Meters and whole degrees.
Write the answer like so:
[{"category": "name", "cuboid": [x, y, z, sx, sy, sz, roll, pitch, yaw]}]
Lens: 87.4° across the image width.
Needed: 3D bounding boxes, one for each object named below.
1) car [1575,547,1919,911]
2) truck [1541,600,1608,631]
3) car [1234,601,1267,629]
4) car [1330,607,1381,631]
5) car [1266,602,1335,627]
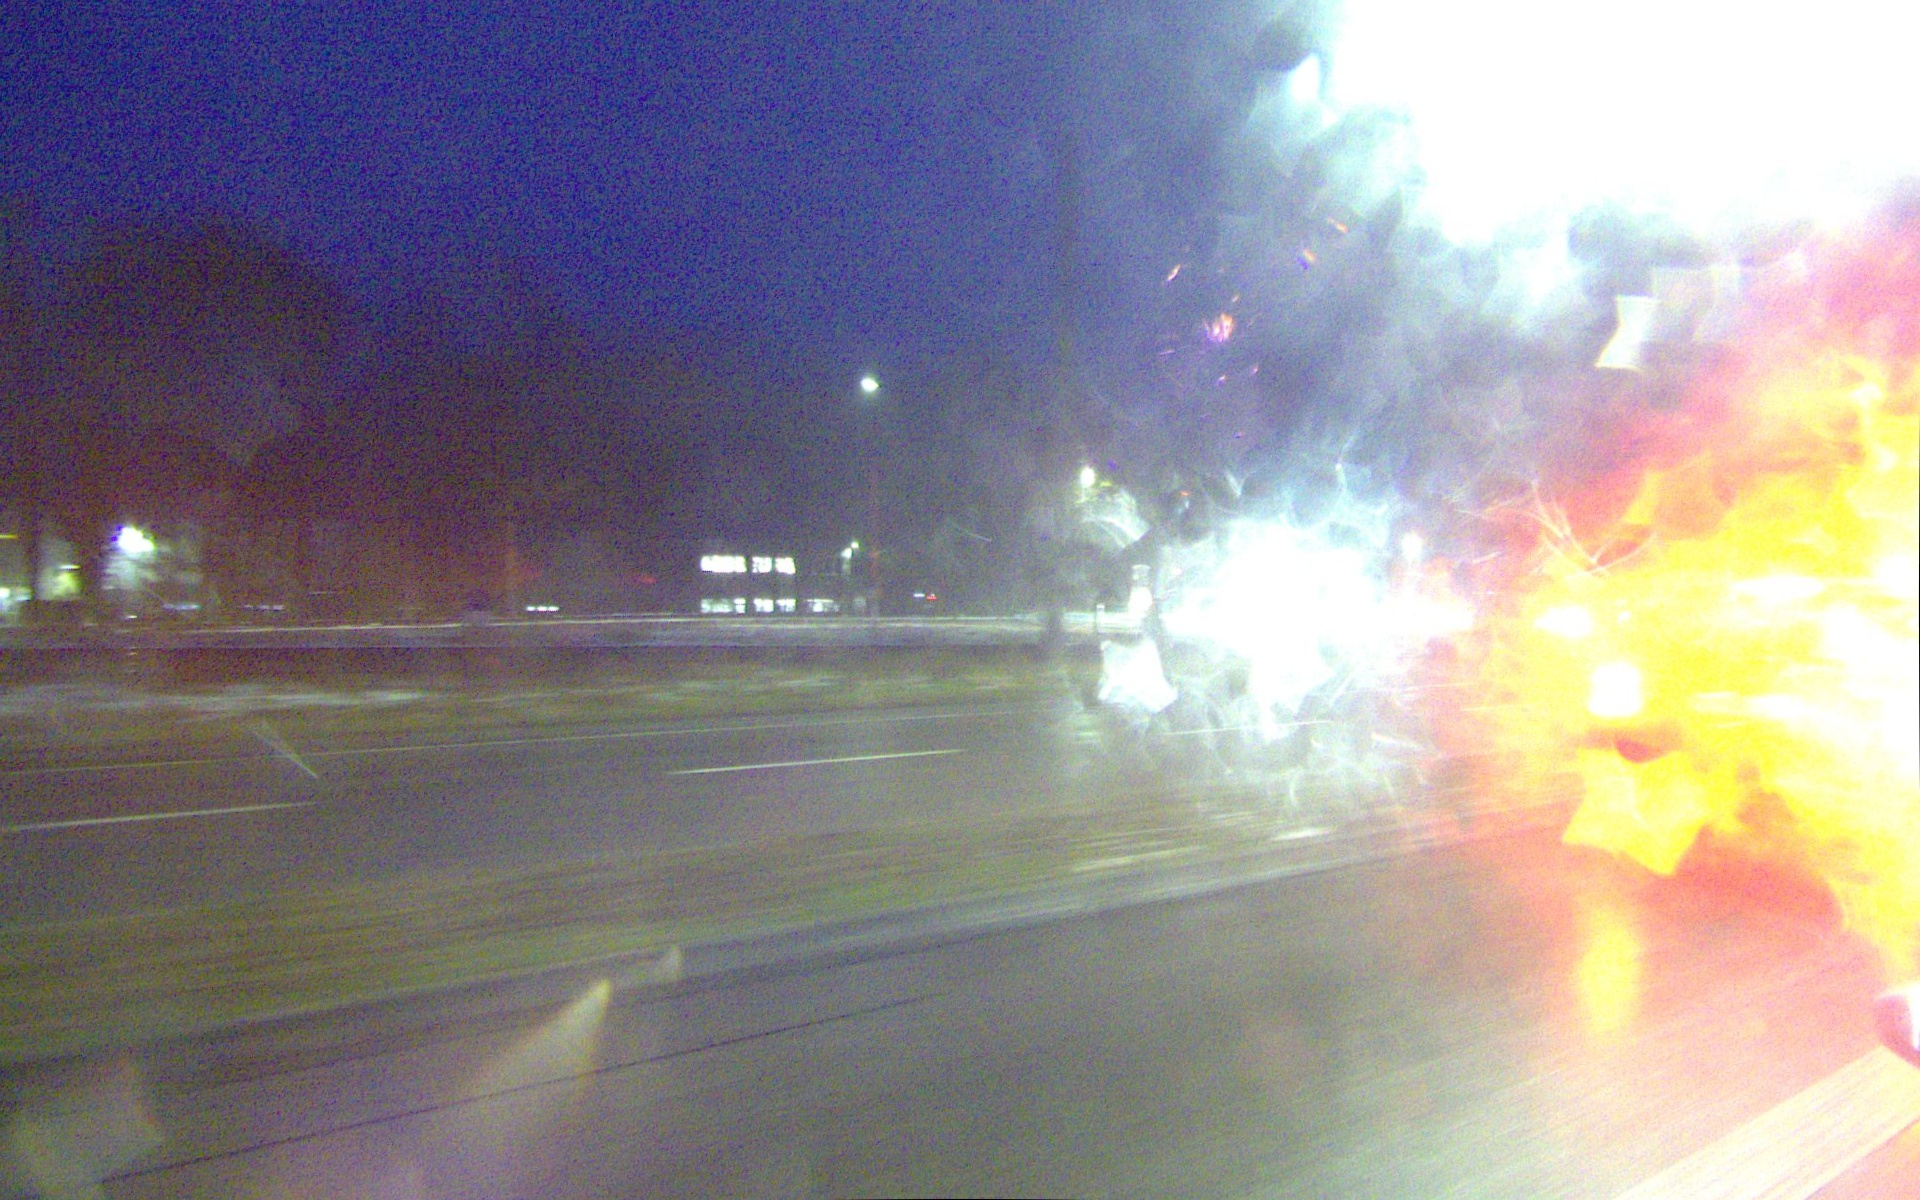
[{"category": "car", "cuboid": [6.250, 0.664, 6.770, 4.385, 1.806, 1.775, 1, 0, -31]}, {"category": "truck", "cuboid": [48.034, 1.201, 78.473, 5.952, 2.302, 1.983, 1, 1, -31]}, {"category": "car", "cuboid": [17.337, 0.873, 59.838, 1.486, 1.538, 4.373, 2, 1, 20]}, {"category": "car", "cuboid": [27.006, 1.287, 68.559, 3.972, 1.539, 1.705, 1, 1, -44]}, {"category": "car", "cuboid": [21.783, 0.928, 64.312, 3.937, 1.539, 1.720, 1, 1, -19]}]
